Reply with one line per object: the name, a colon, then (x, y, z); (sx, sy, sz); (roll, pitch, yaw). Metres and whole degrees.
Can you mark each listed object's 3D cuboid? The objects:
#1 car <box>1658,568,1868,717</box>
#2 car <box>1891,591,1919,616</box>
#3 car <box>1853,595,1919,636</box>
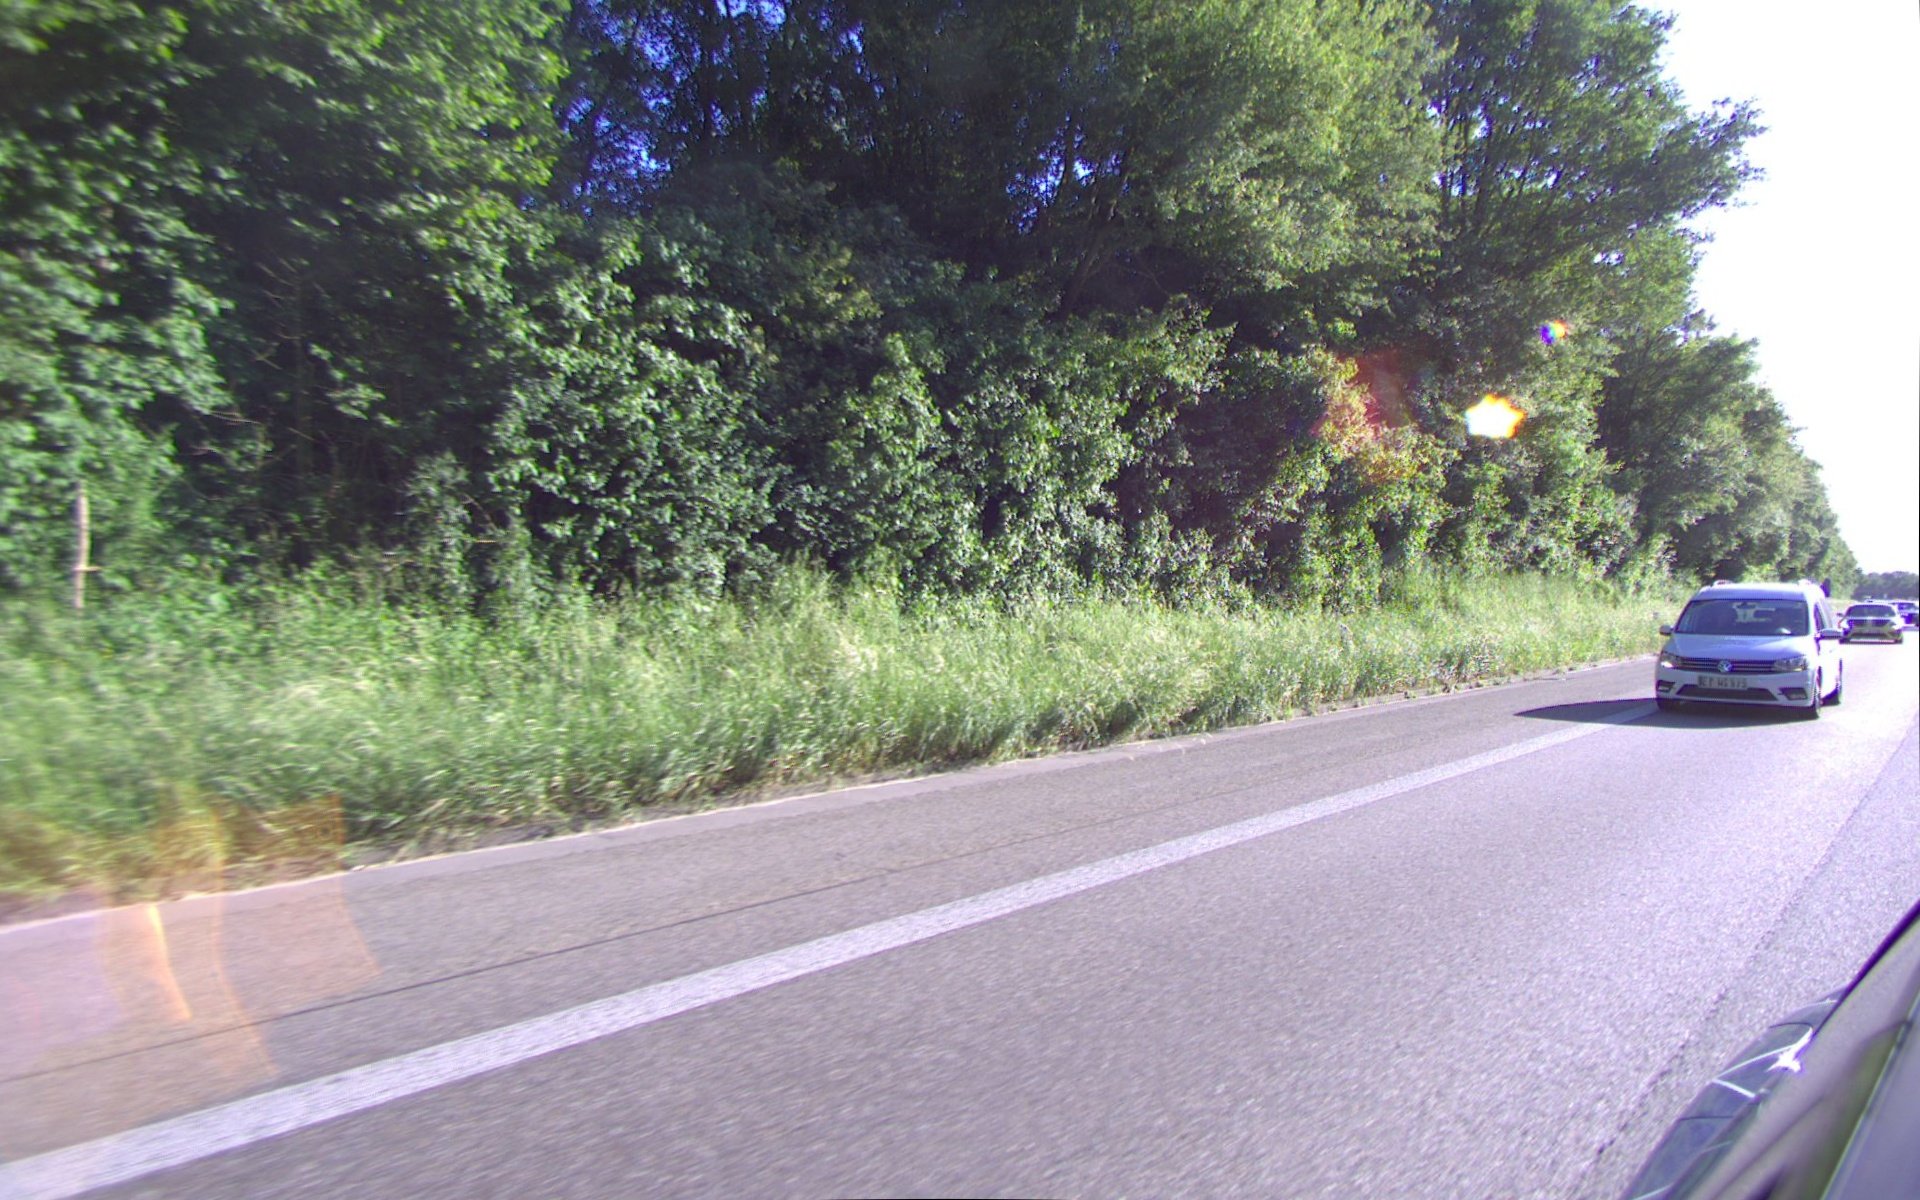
car: (11.745, 0.485, 14.678); (4.511, 1.835, 1.800); (-1, 1, -44)
car: (57.547, 0.210, 61.199); (1.789, 1.467, 3.819); (0, 0, 42)
car: (34.660, 0.550, 37.901); (1.789, 1.467, 3.819); (0, 0, 42)
